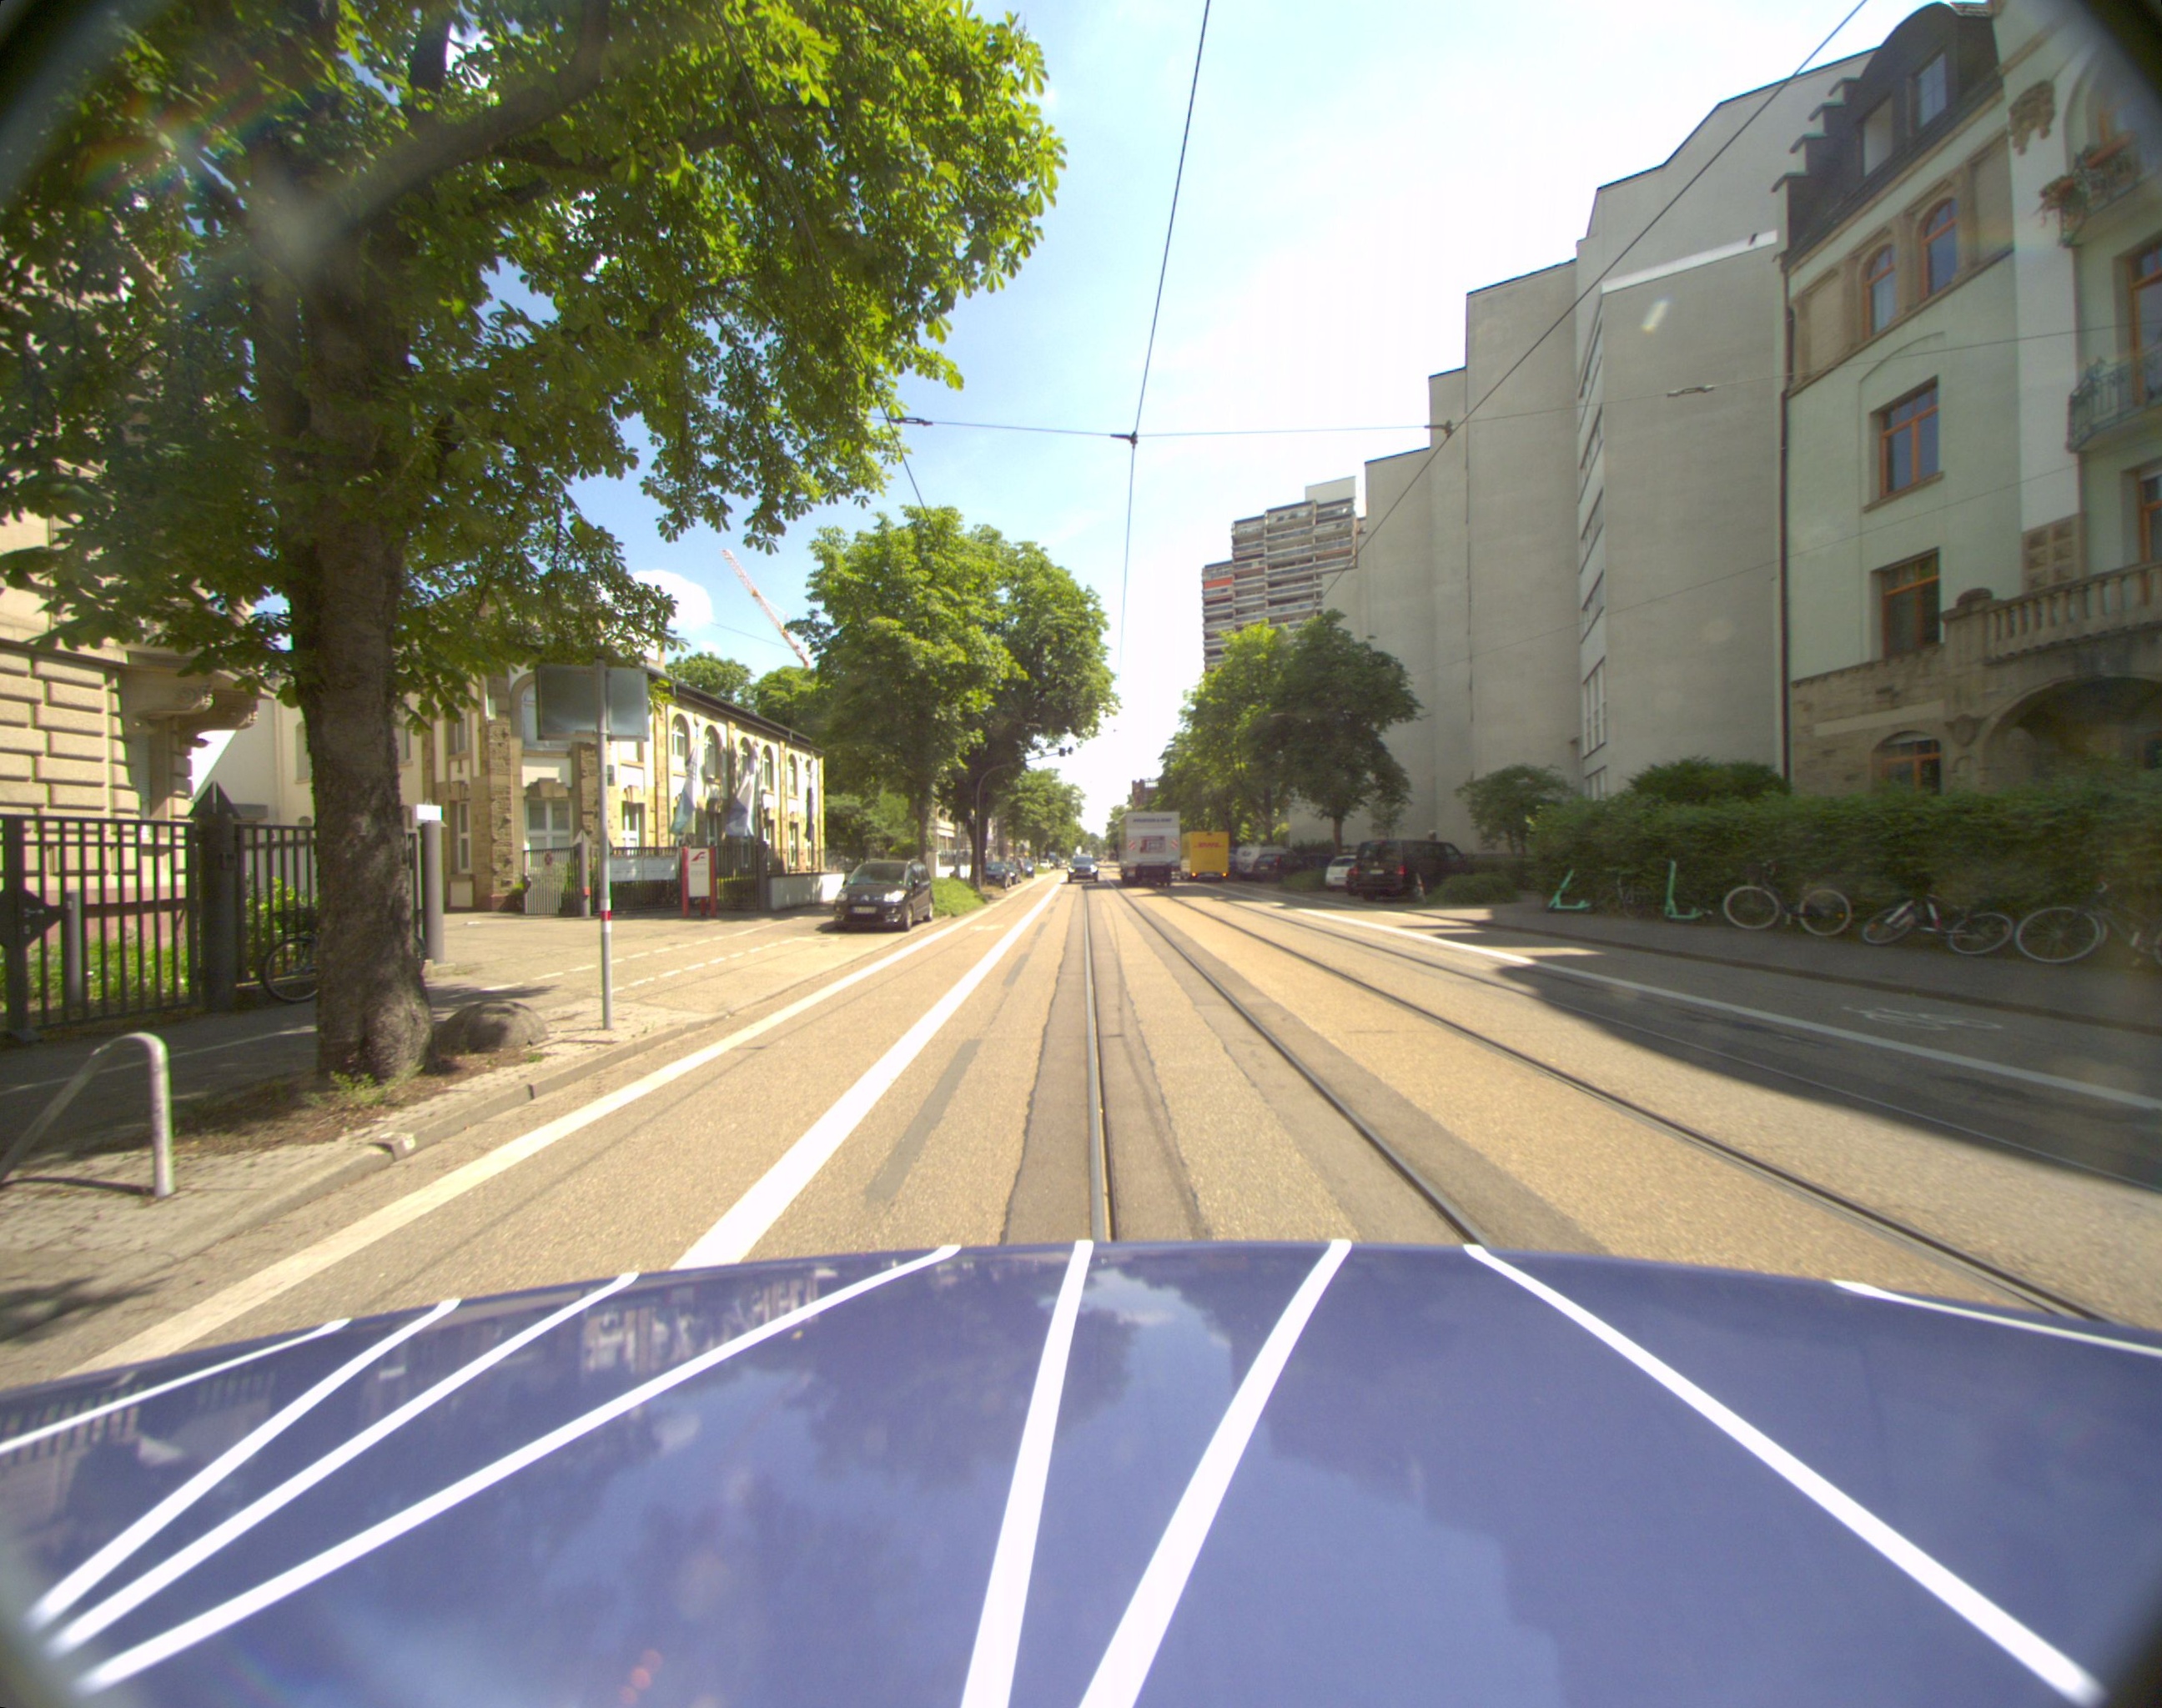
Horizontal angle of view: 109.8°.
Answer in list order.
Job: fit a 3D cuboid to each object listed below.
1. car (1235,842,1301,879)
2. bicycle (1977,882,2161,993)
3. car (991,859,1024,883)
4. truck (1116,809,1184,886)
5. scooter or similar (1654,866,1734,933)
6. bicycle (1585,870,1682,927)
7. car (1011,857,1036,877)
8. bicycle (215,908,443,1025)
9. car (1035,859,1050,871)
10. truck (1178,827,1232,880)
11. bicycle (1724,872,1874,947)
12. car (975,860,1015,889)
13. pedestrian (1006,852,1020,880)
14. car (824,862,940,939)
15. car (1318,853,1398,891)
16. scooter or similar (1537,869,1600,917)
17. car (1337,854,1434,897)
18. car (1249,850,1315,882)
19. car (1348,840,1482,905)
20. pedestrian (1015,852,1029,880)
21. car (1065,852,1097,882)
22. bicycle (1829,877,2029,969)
[{"bbox_3d":[10.954,0.345,44.410,4.061,2.030,1.598,-1,1,-40],"label":"car"},{"bbox_3d":[10.767,0.837,7.954,0.609,0.970,1.771,-5,0,0],"label":"bicycle"},{"bbox_3d":[-4.526,1.025,47.273,1.626,1.395,4.000,1,0,0],"label":"car"},{"bbox_3d":[3.454,-0.300,40.043,2.792,3.598,8.255,-1,0,0],"label":"truck"},{"bbox_3d":[10.839,0.779,13.483,0.407,1.113,1.291,-2,0,2],"label":"scooter or similar"},{"bbox_3d":[10.886,0.841,15.045,0.609,0.983,1.708,-5,0,0],"label":"bicycle"},{"bbox_3d":[-4.422,0.987,59.054,1.626,1.395,4.000,1,0,0],"label":"car"},{"bbox_3d":[-8.609,1.235,8.848,0.609,1.065,1.980,-1,0,2],"label":"bicycle"},{"bbox_3d":[-4.780,1.360,94.076,1.626,1.395,4.000,1,0,0],"label":"car"},{"bbox_3d":[7.249,-0.051,45.224,2.306,2.903,6.515,-1,0,2],"label":"truck"},{"bbox_3d":[10.903,0.811,11.631,0.609,0.983,1.708,-5,0,0],"label":"bicycle"},{"bbox_3d":[-4.530,1.055,40.454,1.626,1.395,3.823,1,0,0],"label":"car"},{"bbox_3d":[-4.519,0.819,50.533,0.645,1.839,0.741,-1,1,27],"label":"pedestrian"},{"bbox_3d":[-4.743,1.041,18.698,1.734,1.607,4.084,1,0,1],"label":"car"},{"bbox_3d":[11.476,0.716,31.395,1.721,1.445,3.635,-1,0,44],"label":"car"},{"bbox_3d":[10.837,0.846,16.929,0.407,1.014,1.222,-1,0,-15],"label":"scooter or similar"},{"bbox_3d":[11.342,0.743,28.206,3.952,1.445,1.678,-1,0,-41],"label":"car"},{"bbox_3d":[10.838,0.615,40.927,3.692,1.566,1.678,-1,1,-42],"label":"car"},{"bbox_3d":[10.901,0.538,24.690,4.595,1.914,1.957,-1,0,-37],"label":"car"},{"bbox_3d":[-3.882,0.785,50.055,0.645,1.839,0.741,-1,1,18],"label":"pedestrian"},{"bbox_3d":[0.000,0.743,45.374,1.752,1.641,4.297,-3,0,0],"label":"car"},{"bbox_3d":[10.810,0.837,9.785,0.609,0.983,1.708,-5,0,0],"label":"bicycle"}]
